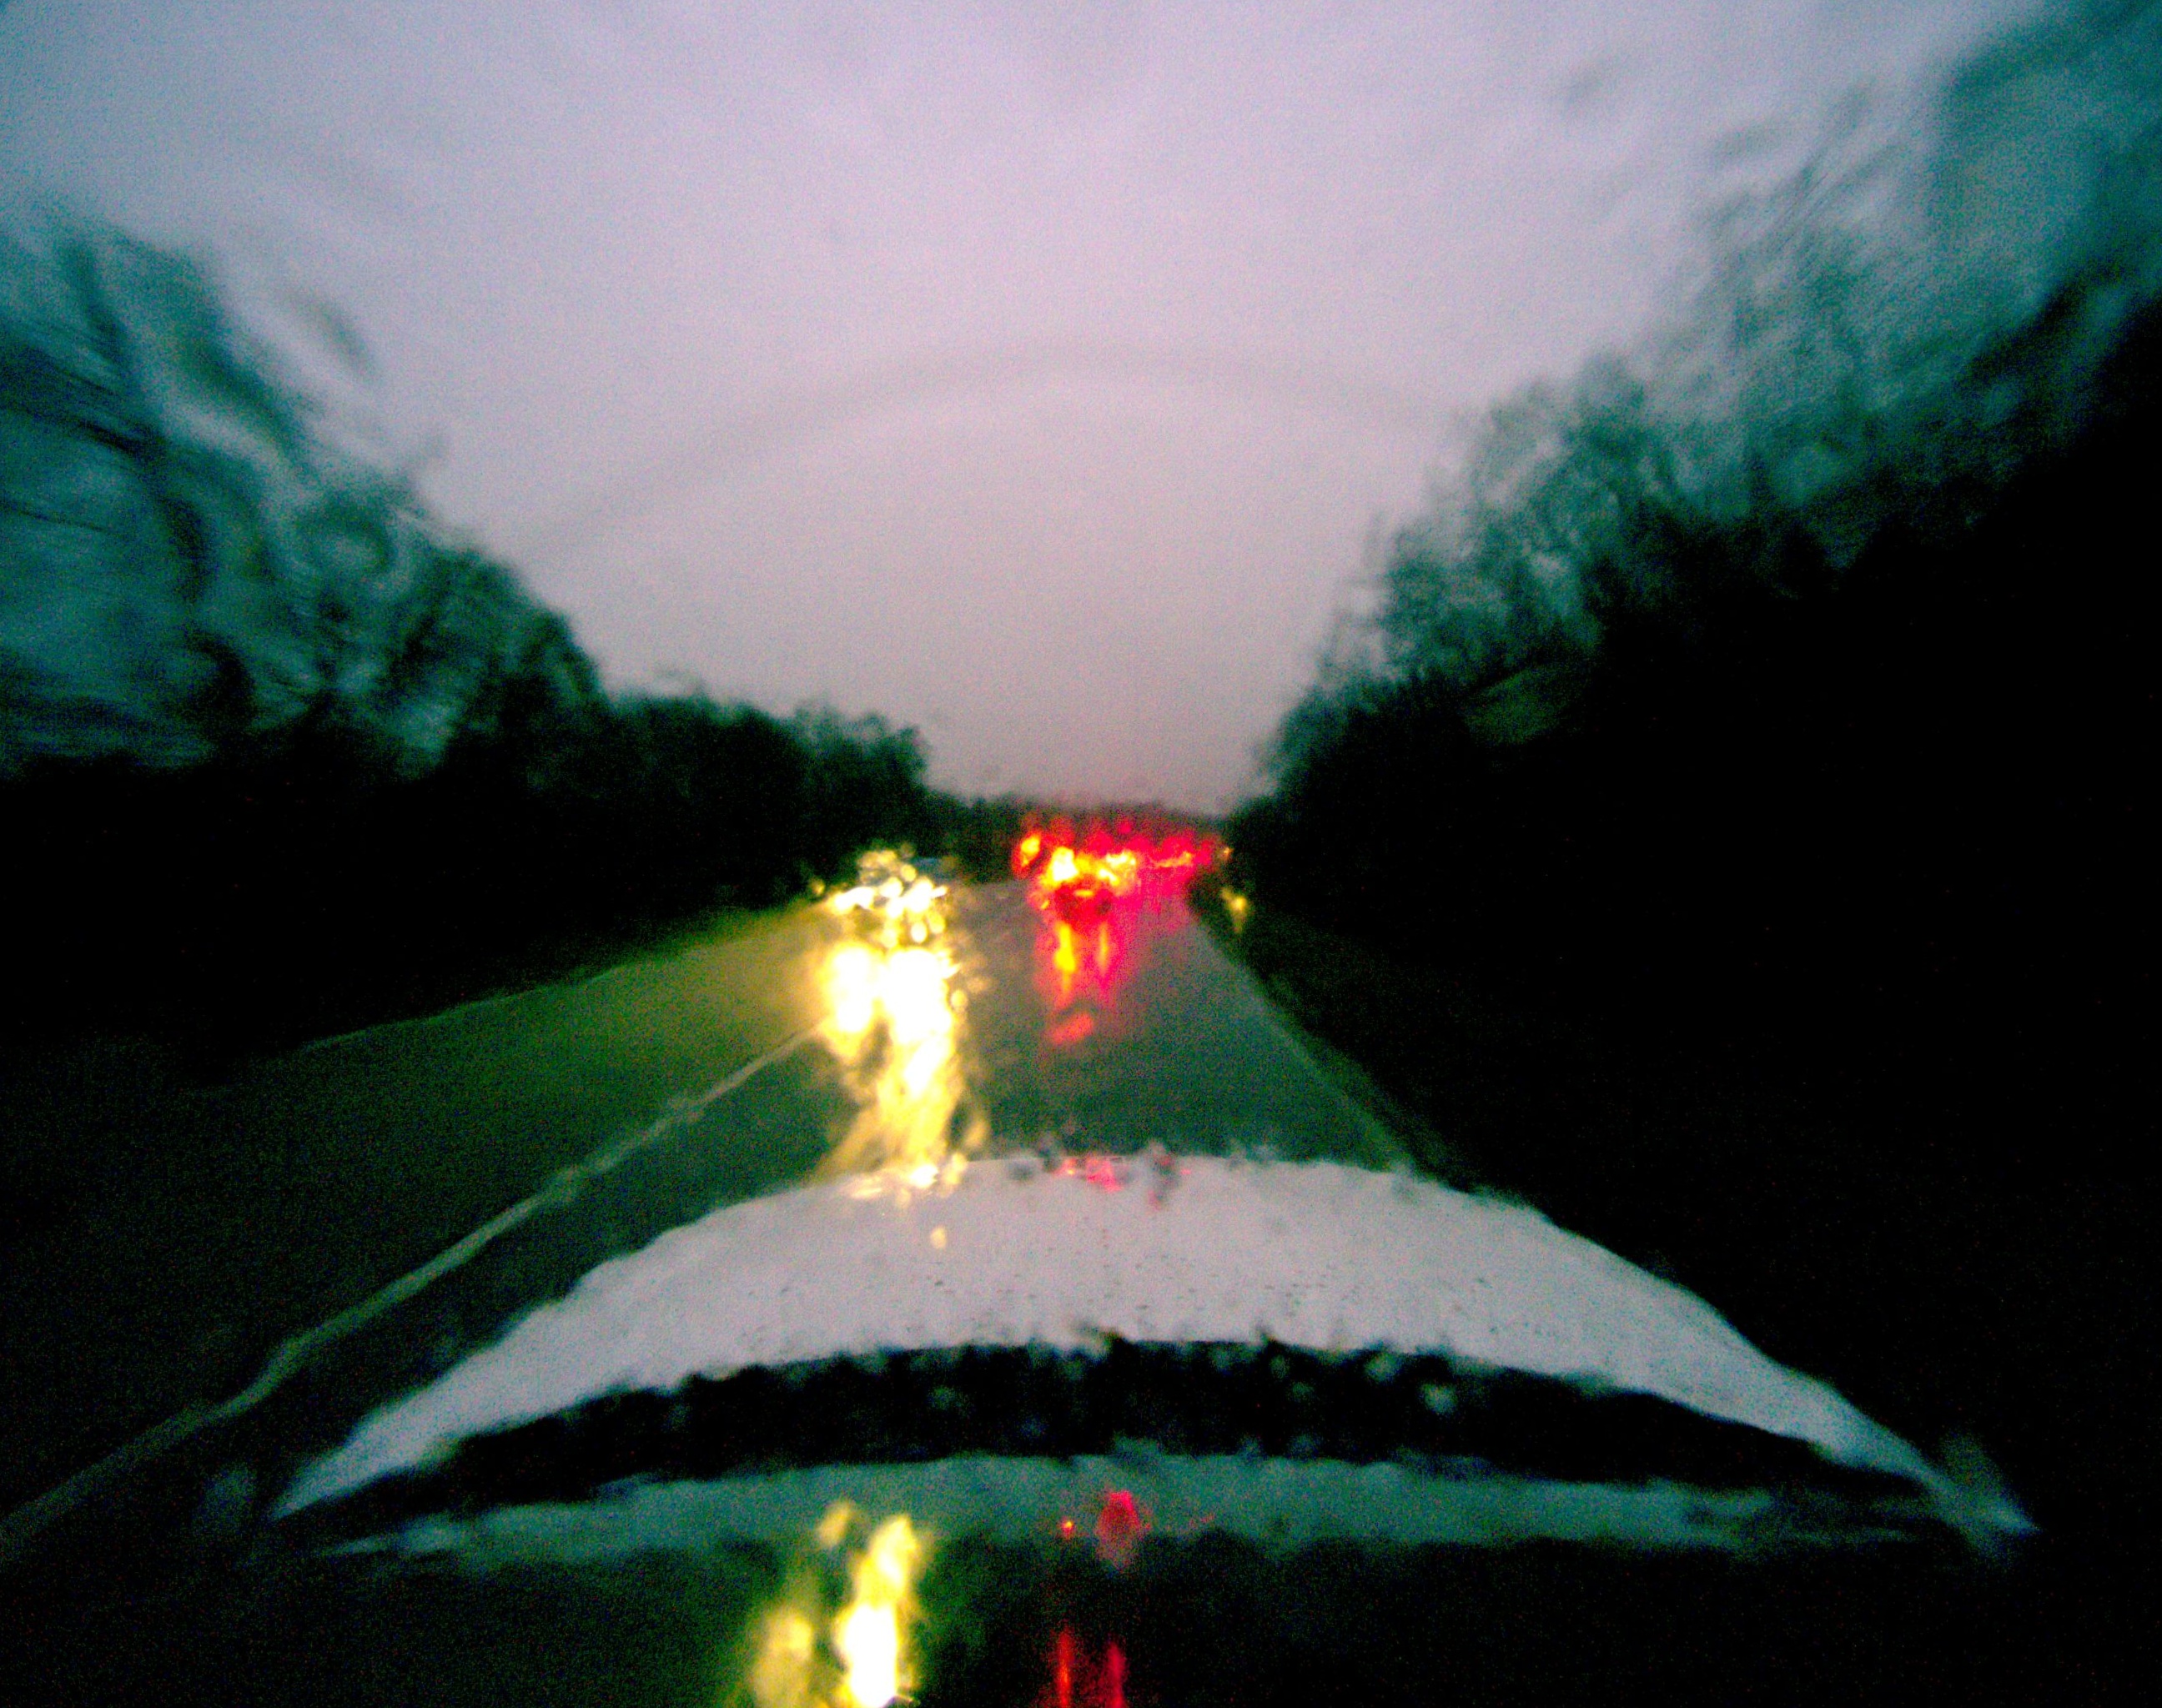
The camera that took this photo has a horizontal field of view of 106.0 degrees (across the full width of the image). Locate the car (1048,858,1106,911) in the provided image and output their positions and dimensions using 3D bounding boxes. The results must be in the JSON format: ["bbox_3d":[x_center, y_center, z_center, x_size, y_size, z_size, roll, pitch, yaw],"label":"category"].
[{"bbox_3d":[-0.078,0.880,25.564,1.626,1.421,4.171,2,0,1],"label":"car"}]

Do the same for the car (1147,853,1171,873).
[{"bbox_3d":[5.757,0.656,60.506,1.671,1.389,4.103,0,1,4],"label":"car"}]

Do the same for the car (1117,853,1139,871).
[{"bbox_3d":[4.470,0.743,77.340,1.997,1.556,4.520,1,1,2],"label":"car"}]

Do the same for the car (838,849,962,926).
[{"bbox_3d":[-3.882,0.651,18.156,1.758,1.497,4.103,0,0,1],"label":"car"}]

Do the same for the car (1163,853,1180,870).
[{"bbox_3d":[9.640,0.771,87.075,1.671,1.675,4.104,0,1,5],"label":"car"}]
